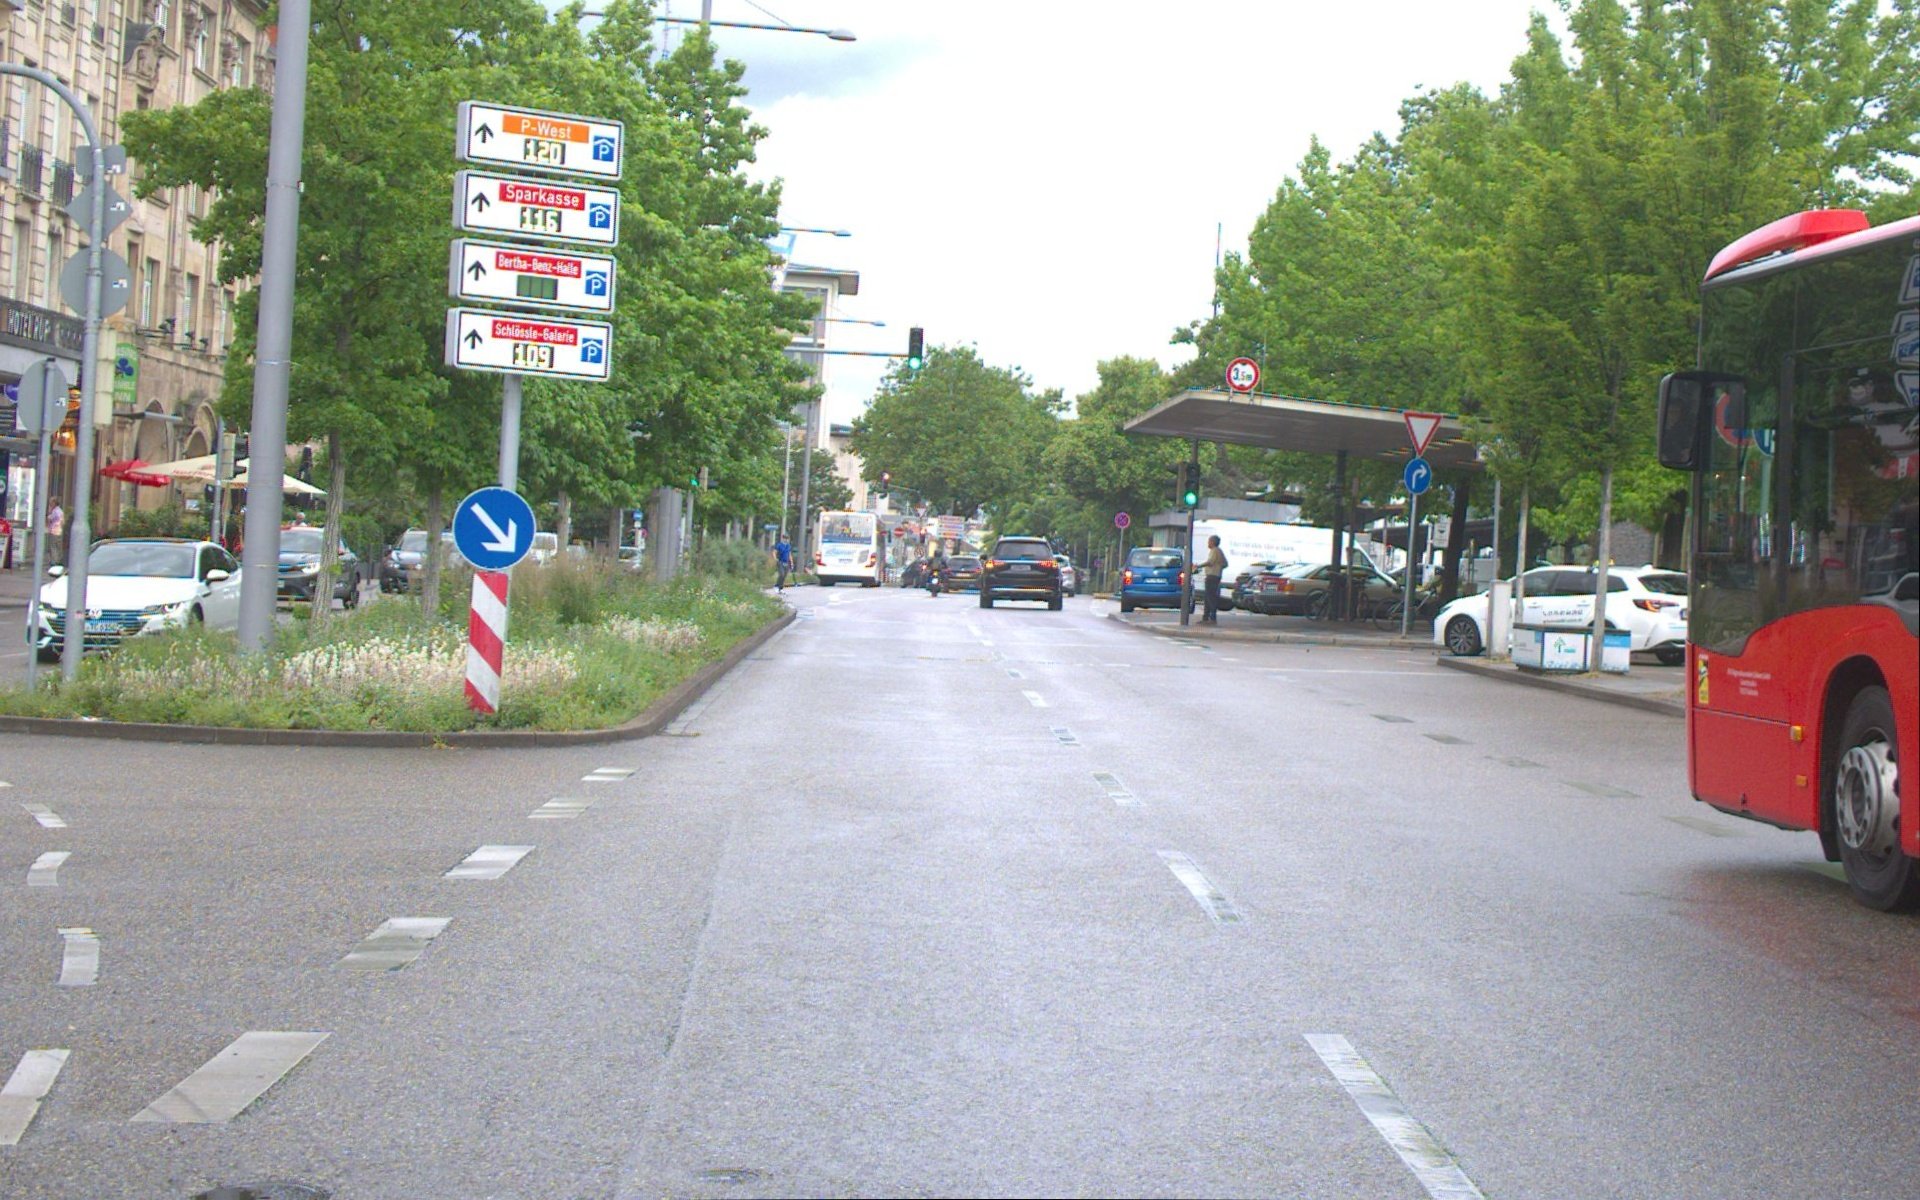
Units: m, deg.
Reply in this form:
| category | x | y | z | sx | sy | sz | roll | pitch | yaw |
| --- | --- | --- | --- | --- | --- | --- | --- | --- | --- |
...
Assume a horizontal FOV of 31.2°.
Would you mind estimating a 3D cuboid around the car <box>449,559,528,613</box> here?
| category | x | y | z | sx | sy | sz | roll | pitch | yaw |
| --- | --- | --- | --- | --- | --- | --- | --- | --- | --- |
| car | -12.439 | -0.383 | 90.858 | 1.754 | 1.364 | 4.060 | 1 | 1 | -4 |

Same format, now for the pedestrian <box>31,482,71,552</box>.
| category | x | y | z | sx | sy | sz | roll | pitch | yaw |
| --- | --- | --- | --- | --- | --- | --- | --- | --- | --- |
| pedestrian | -19.667 | -1.801 | 74.416 | 0.661 | 1.505 | 0.519 | 1 | 1 | -38 |

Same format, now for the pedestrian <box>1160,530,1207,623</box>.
| category | x | y | z | sx | sy | sz | roll | pitch | yaw |
| --- | --- | --- | --- | --- | --- | --- | --- | --- | --- |
| pedestrian | 4.333 | -0.454 | 66.681 | 0.717 | 1.785 | 0.666 | 1 | 1 | -12 |

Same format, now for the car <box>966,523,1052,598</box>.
| category | x | y | z | sx | sy | sz | roll | pitch | yaw |
| --- | --- | --- | --- | --- | --- | --- | --- | --- | --- |
| car | 1.200 | -1.005 | 85.986 | 1.993 | 1.800 | 4.690 | 1 | 1 | -1 |

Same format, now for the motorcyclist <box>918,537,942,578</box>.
| category | x | y | z | sx | sy | sz | roll | pitch | yaw |
| --- | --- | --- | --- | --- | --- | --- | --- | --- | --- |
| motorcyclist | -0.985 | -1.392 | 113.705 | 0.764 | 1.327 | 0.866 | 2 | 1 | 0 |

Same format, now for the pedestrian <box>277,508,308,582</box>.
| category | x | y | z | sx | sy | sz | roll | pitch | yaw |
| --- | --- | --- | --- | --- | --- | --- | --- | --- | --- |
| pedestrian | -15.789 | -1.292 | 81.318 | 0.575 | 1.726 | 0.609 | 2 | 1 | -1 |

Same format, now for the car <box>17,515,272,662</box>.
| category | x | y | z | sx | sy | sz | roll | pitch | yaw |
| --- | --- | --- | --- | --- | --- | --- | --- | --- | --- |
| car | -9.485 | -0.186 | 40.374 | 1.724 | 1.376 | 4.860 | 1 | 4 | 1 |

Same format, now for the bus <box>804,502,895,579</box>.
| category | x | y | z | sx | sy | sz | roll | pitch | yaw |
| --- | --- | --- | --- | --- | --- | --- | --- | --- | --- |
| bus | -5.044 | -2.648 | 153.361 | 3.760 | 3.198 | 15.528 | 1 | 1 | -3 |

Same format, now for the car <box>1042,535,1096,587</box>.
| category | x | y | z | sx | sy | sz | roll | pitch | yaw |
| --- | --- | --- | --- | --- | --- | --- | --- | --- | --- |
| car | 4.016 | -1.456 | 127.438 | 1.788 | 1.853 | 4.000 | 1 | 1 | -1 |

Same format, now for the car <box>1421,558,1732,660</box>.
| category | x | y | z | sx | sy | sz | roll | pitch | yaw |
| --- | --- | --- | --- | --- | --- | --- | --- | --- | --- |
| car | 9.108 | 0.114 | 51.062 | 1.774 | 1.380 | 4.366 | 0 | 1 | -41 |

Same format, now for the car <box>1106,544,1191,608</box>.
| category | x | y | z | sx | sy | sz | roll | pitch | yaw |
| --- | --- | --- | --- | --- | --- | --- | --- | --- | --- |
| car | 4.660 | -0.619 | 85.394 | 1.816 | 1.525 | 4.000 | 1 | 1 | -1 |

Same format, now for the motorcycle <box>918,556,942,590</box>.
| category | x | y | z | sx | sy | sz | roll | pitch | yaw |
| --- | --- | --- | --- | --- | --- | --- | --- | --- | --- |
| motorcycle | -0.993 | -0.895 | 113.710 | 0.766 | 1.073 | 2.175 | 2 | 1 | 0 |

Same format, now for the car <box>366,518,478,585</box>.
| category | x | y | z | sx | sy | sz | roll | pitch | yaw |
| --- | --- | --- | --- | --- | --- | --- | --- | --- | --- |
| car | -12.094 | -1.099 | 77.467 | 1.755 | 1.436 | 4.060 | 1 | 1 | 2 |

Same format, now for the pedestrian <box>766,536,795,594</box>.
| category | x | y | z | sx | sy | sz | roll | pitch | yaw |
| --- | --- | --- | --- | --- | --- | --- | --- | --- | --- |
| pedestrian | -5.350 | -1.042 | 102.455 | 0.758 | 1.695 | 0.559 | 2 | 1 | 6 |

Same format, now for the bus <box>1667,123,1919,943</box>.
| category | x | y | z | sx | sy | sz | roll | pitch | yaw |
| --- | --- | --- | --- | --- | --- | --- | --- | --- | --- |
| bus | 5.175 | -0.213 | 11.711 | 2.742 | 3.163 | 10.196 | 1 | 1 | -4 |

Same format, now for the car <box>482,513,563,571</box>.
| category | x | y | z | sx | sy | sz | roll | pitch | yaw |
| --- | --- | --- | --- | --- | --- | --- | --- | --- | --- |
| car | -13.041 | -1.742 | 102.583 | 1.755 | 1.364 | 4.061 | 1 | 5 | 2 |

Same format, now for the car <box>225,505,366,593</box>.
| category | x | y | z | sx | sy | sz | roll | pitch | yaw |
| --- | --- | --- | --- | --- | --- | --- | --- | --- | --- |
| car | -11.815 | -0.909 | 61.372 | 1.631 | 1.471 | 4.026 | 2 | 1 | 1 |

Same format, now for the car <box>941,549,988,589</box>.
| category | x | y | z | sx | sy | sz | roll | pitch | yaw |
| --- | --- | --- | --- | --- | --- | --- | --- | --- | --- |
| car | 0.159 | -1.186 | 130.175 | 1.708 | 1.443 | 4.000 | 1 | 1 | -1 |

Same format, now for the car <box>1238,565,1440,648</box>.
| category | x | y | z | sx | sy | sz | roll | pitch | yaw |
| --- | --- | --- | --- | --- | --- | --- | --- | --- | --- |
| car | 9.063 | 0.158 | 82.276 | 4.335 | 1.851 | 2.001 | 1 | 1 | -20 |

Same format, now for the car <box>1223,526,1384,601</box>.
| category | x | y | z | sx | sy | sz | roll | pitch | yaw |
| --- | --- | --- | --- | --- | --- | --- | --- | --- | --- |
| car | 9.656 | -1.022 | 96.644 | 3.986 | 2.007 | 2.001 | 1 | 1 | -20 |

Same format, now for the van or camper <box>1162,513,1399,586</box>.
| category | x | y | z | sx | sy | sz | roll | pitch | yaw |
| --- | --- | --- | --- | --- | --- | --- | --- | --- | --- |
| van or camper | 9.601 | -1.493 | 102.826 | 6.753 | 2.007 | 2.385 | 1 | 0 | -26 |
